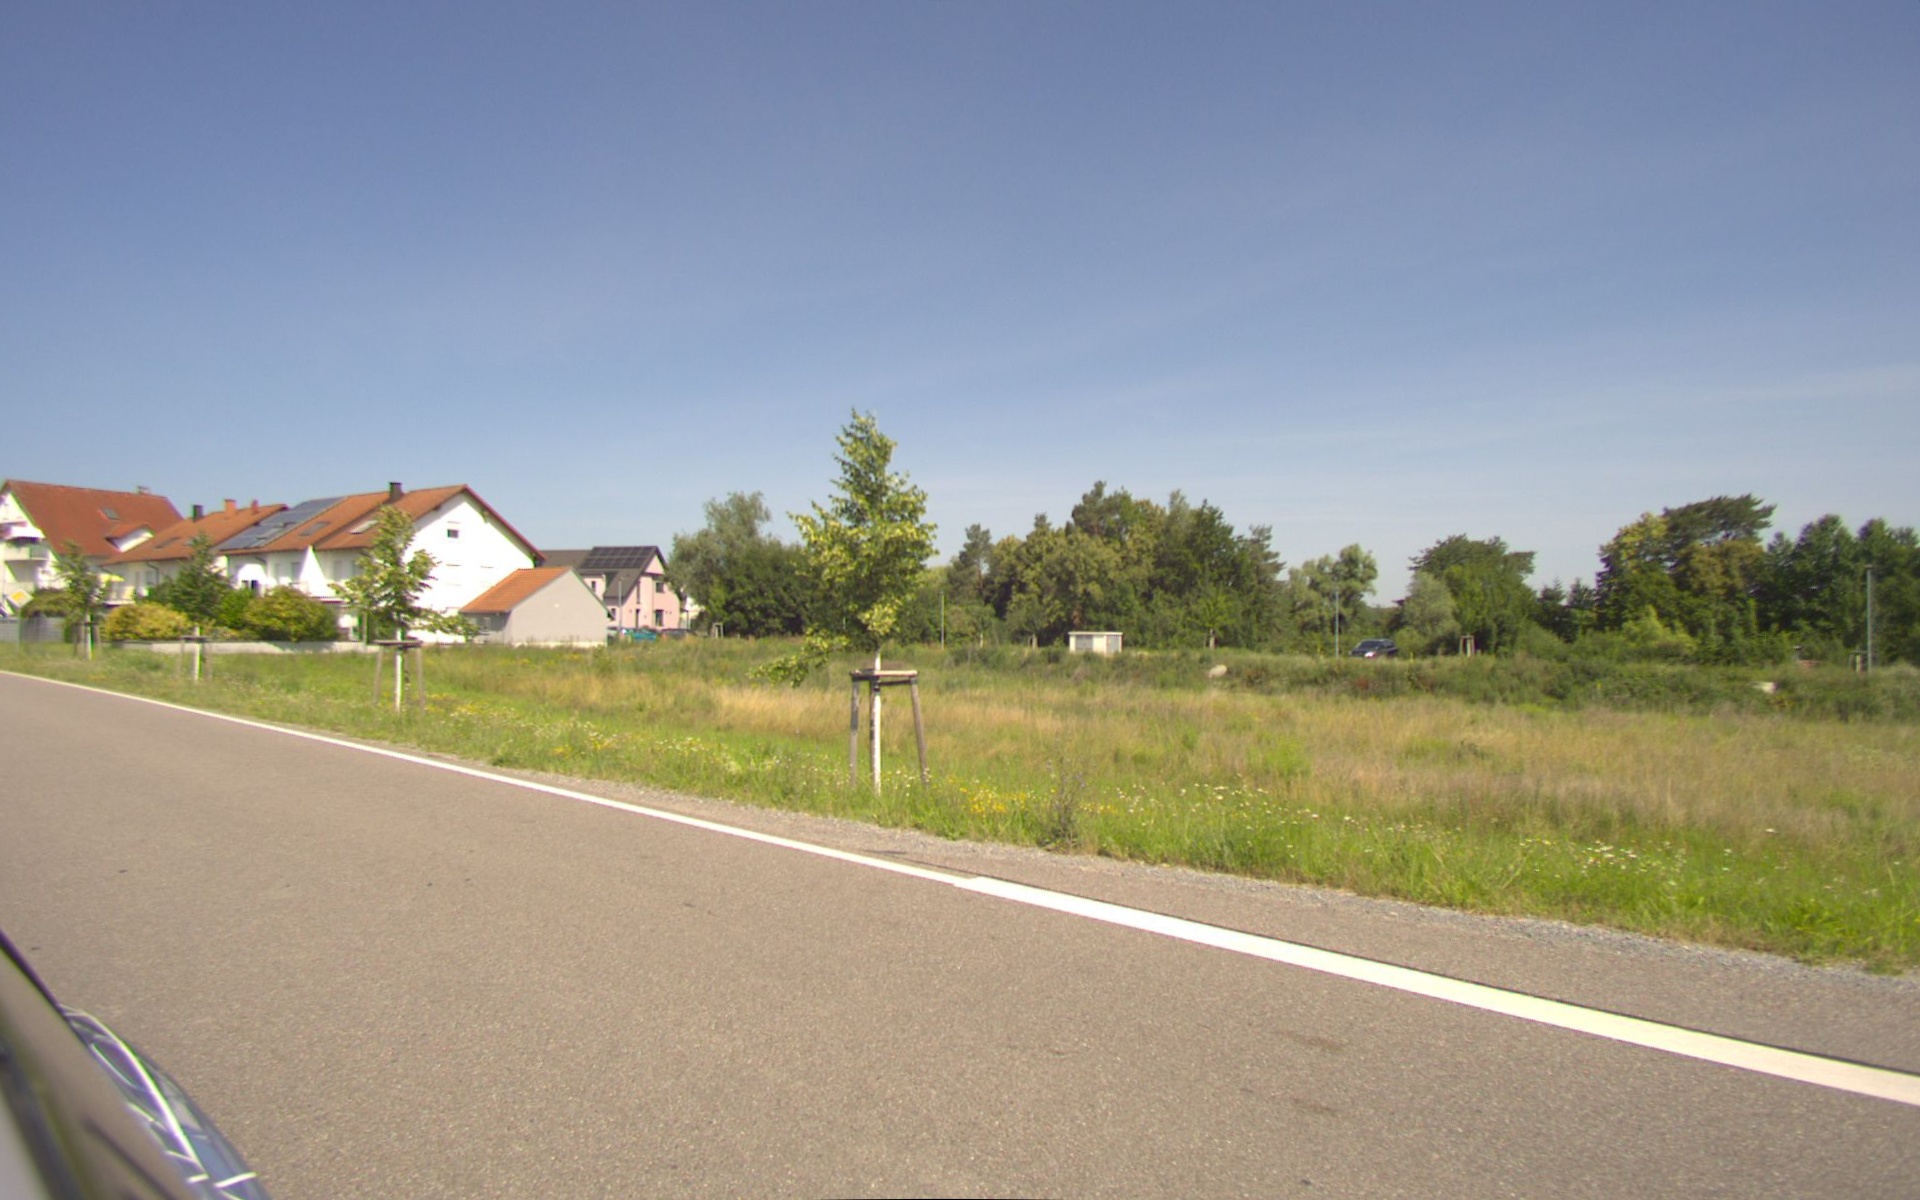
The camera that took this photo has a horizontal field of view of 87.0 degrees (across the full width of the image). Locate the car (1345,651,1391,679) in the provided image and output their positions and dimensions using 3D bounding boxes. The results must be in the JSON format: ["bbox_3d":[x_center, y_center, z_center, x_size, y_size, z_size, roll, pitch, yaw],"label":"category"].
[{"bbox_3d":[24.475,3.886,60.708,1.512,1.547,3.508,-1,-3,41],"label":"car"}]
